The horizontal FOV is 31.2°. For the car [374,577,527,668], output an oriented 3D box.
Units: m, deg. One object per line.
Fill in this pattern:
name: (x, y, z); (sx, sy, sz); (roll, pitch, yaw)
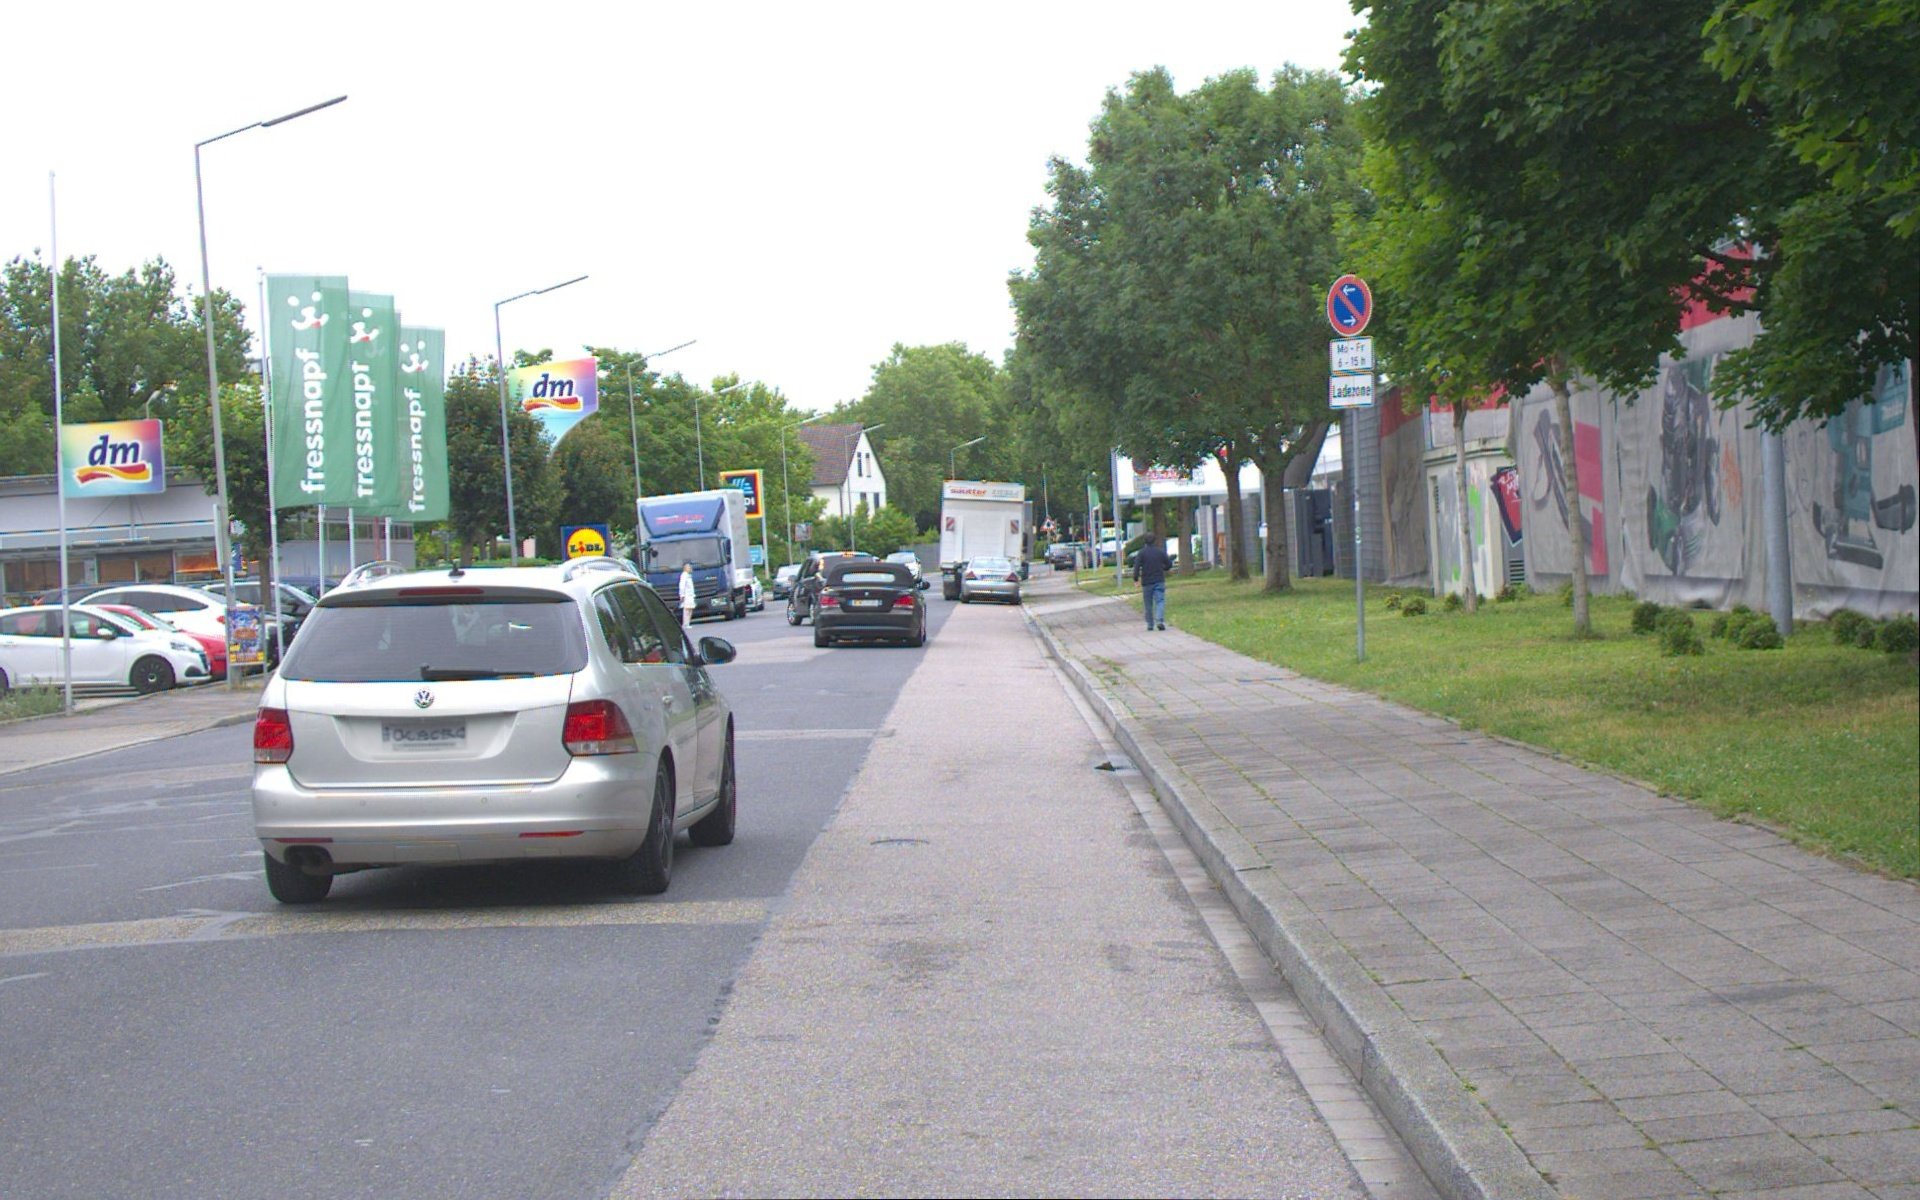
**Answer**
car: (-8.626, 0.351, 58.478); (1.898, 1.362, 4.000); (-3, 1, 1)

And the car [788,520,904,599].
car: (-2.565, -0.885, 76.594); (1.680, 1.626, 3.760); (-3, 1, -15)

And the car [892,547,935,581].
car: (-2.298, -1.794, 171.103); (1.886, 1.526, 4.254); (-4, 1, 1)

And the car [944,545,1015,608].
car: (0.559, -0.689, 102.383); (1.993, 1.800, 4.000); (-2, 0, -1)

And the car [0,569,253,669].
car: (-14.400, 0.318, 59.031); (4.135, 1.458, 1.899); (-3, 1, -4)

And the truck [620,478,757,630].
truck: (-7.626, -1.318, 97.326); (2.974, 3.942, 6.404); (-4, 1, 1)

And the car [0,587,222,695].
car: (-13.866, 0.664, 53.986); (4.202, 1.458, 1.953); (-4, 1, -7)

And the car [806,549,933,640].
car: (-1.450, -0.103, 56.483); (1.745, 1.354, 4.137); (-3, 0, 3)

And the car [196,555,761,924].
car: (-2.071, 0.538, 16.009); (1.753, 1.446, 4.297); (-1, 1, 4)

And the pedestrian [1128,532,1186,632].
pedestrian: (3.292, -0.298, 57.503); (0.919, 1.629, 0.852); (-2, 0, 3)

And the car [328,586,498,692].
car: (-8.136, 0.551, 51.467); (1.898, 1.362, 4.000); (-4, 1, -1)

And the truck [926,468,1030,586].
truck: (0.513, -2.274, 111.671); (3.135, 3.572, 10.051); (-2, 0, -1)

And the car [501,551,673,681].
car: (-5.313, 0.189, 49.448); (1.993, 1.678, 4.000); (-4, 1, -1)
